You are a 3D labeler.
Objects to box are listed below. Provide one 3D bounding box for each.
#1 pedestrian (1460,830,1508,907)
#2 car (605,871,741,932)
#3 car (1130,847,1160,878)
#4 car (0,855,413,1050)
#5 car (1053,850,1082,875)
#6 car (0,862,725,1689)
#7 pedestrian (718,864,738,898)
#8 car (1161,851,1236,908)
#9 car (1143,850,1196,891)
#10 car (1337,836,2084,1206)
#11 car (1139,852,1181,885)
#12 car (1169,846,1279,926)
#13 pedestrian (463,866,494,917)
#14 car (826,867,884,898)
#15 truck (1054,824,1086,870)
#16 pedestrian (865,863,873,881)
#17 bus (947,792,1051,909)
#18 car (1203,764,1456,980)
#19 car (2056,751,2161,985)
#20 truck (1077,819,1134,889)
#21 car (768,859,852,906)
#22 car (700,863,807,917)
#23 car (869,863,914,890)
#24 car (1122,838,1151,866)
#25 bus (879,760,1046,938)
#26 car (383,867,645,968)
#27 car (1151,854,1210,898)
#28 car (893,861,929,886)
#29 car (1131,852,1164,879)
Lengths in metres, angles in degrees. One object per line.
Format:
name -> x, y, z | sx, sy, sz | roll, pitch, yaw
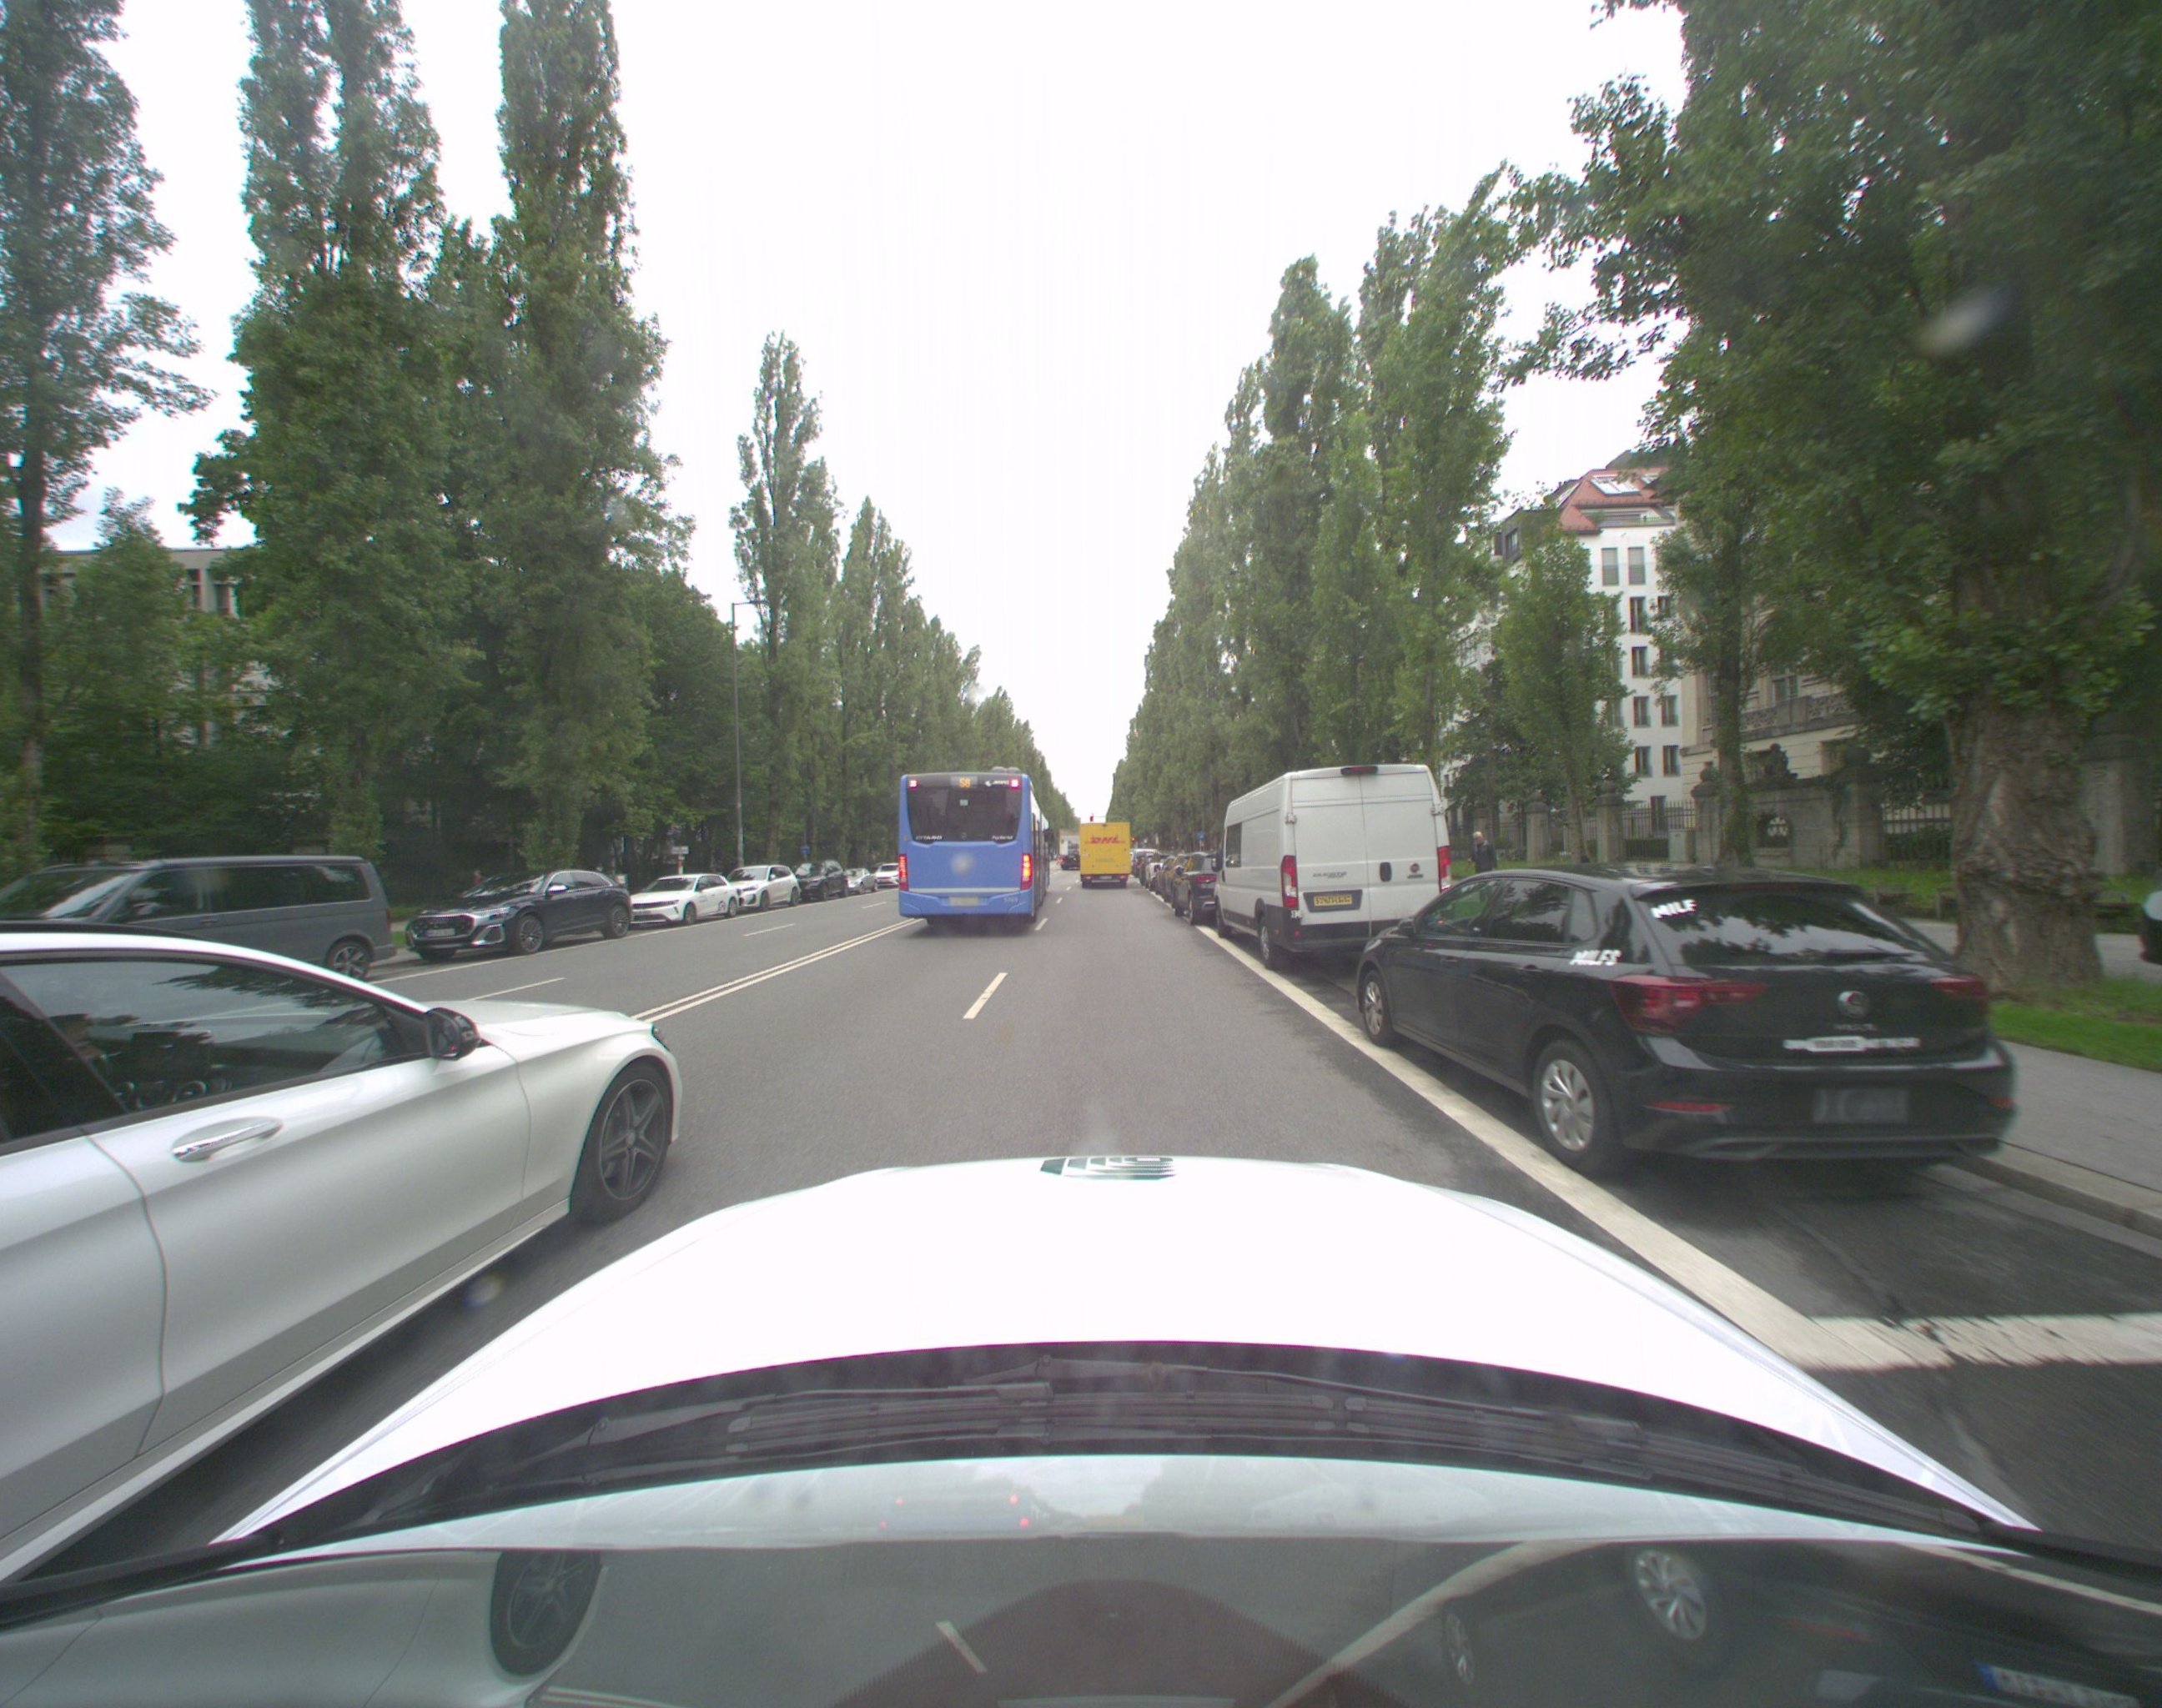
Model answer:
pedestrian -> 9.834, 0.349, 19.893 | 0.654, 1.839, 0.782 | -2, 0, -13
car -> -11.623, 1.304, 23.575 | 1.670, 1.422, 4.238 | -4, 0, 1
car -> 4.368, 0.567, 55.923 | 1.799, 1.976, 4.238 | -1, 0, 2
car -> -11.942, 1.066, 10.754 | 1.987, 1.956, 4.938 | -4, 0, 1
car -> -1.055, 0.655, 64.218 | 2.028, 1.801, 4.509 | -2, 0, 1
car -> -2.839, 0.779, 2.004 | 1.819, 1.454, 4.583 | -1, 0, 1
pedestrian -> -19.177, 1.477, 44.246 | 0.637, 1.815, 0.775 | -2, 0, 1
car -> 3.348, 0.685, 23.908 | 1.646, 1.503, 4.114 | -1, 0, 1
car -> 3.583, 0.639, 33.656 | 1.775, 1.581, 4.147 | 0, 0, 1
car -> 3.119, 0.653, 5.218 | 1.748, 1.450, 4.000 | 0, 0, 1
car -> 3.741, 0.658, 39.290 | 1.719, 1.495, 4.326 | -2, 0, 2
car -> 3.139, 0.651, 18.677 | 1.814, 1.590, 4.223 | -1, 0, 1
pedestrian -> -21.029, 1.293, 28.450 | 0.547, 1.747, 0.673 | -1, 0, 0
car -> -11.175, 1.382, 40.532 | 1.574, 1.304, 4.030 | -4, 0, 2
truck -> -1.033, -0.612, 77.087 | 2.708, 3.965, 9.214 | -2, 0, -1
pedestrian -> -20.227, 1.707, 77.740 | 0.597, 1.739, 0.640 | -2, 0, 1
bus -> -2.559, -0.103, 28.621 | 2.864, 3.304, 9.782 | -2, 0, -2
car -> 3.353, 0.197, 12.593 | 2.067, 2.479, 6.284 | -1, 0, 1
car -> 9.917, 0.085, 4.934 | 1.986, 1.946, 5.085 | -2, 0, 2
truck -> 1.082, 0.008, 38.260 | 2.320, 2.898, 7.333 | -2, 0, 1
car -> -11.381, 1.160, 34.566 | 1.874, 1.658, 4.717 | -4, 0, 0
car -> -11.543, 1.207, 29.041 | 1.779, 1.588, 4.463 | -4, 0, 2
car -> -11.341, 1.337, 48.969 | 1.680, 1.413, 4.004 | -4, 0, 0
car -> 4.350, -0.172, 64.384 | 2.045, 2.013, 5.694 | -2, 0, 2
bus -> -2.367, -0.107, 19.534 | 2.848, 3.213, 9.053 | -1, 0, -2
car -> -11.556, 1.189, 17.174 | 1.809, 1.609, 5.053 | -4, 0, 1
car -> 3.451, 0.734, 28.918 | 1.627, 1.446, 4.149 | 0, 0, 1
car -> -11.143, 1.248, 53.663 | 1.740, 1.518, 4.111 | -4, 0, -4
car -> 4.077, 0.670, 50.409 | 1.856, 1.552, 4.002 | -2, 0, 2
